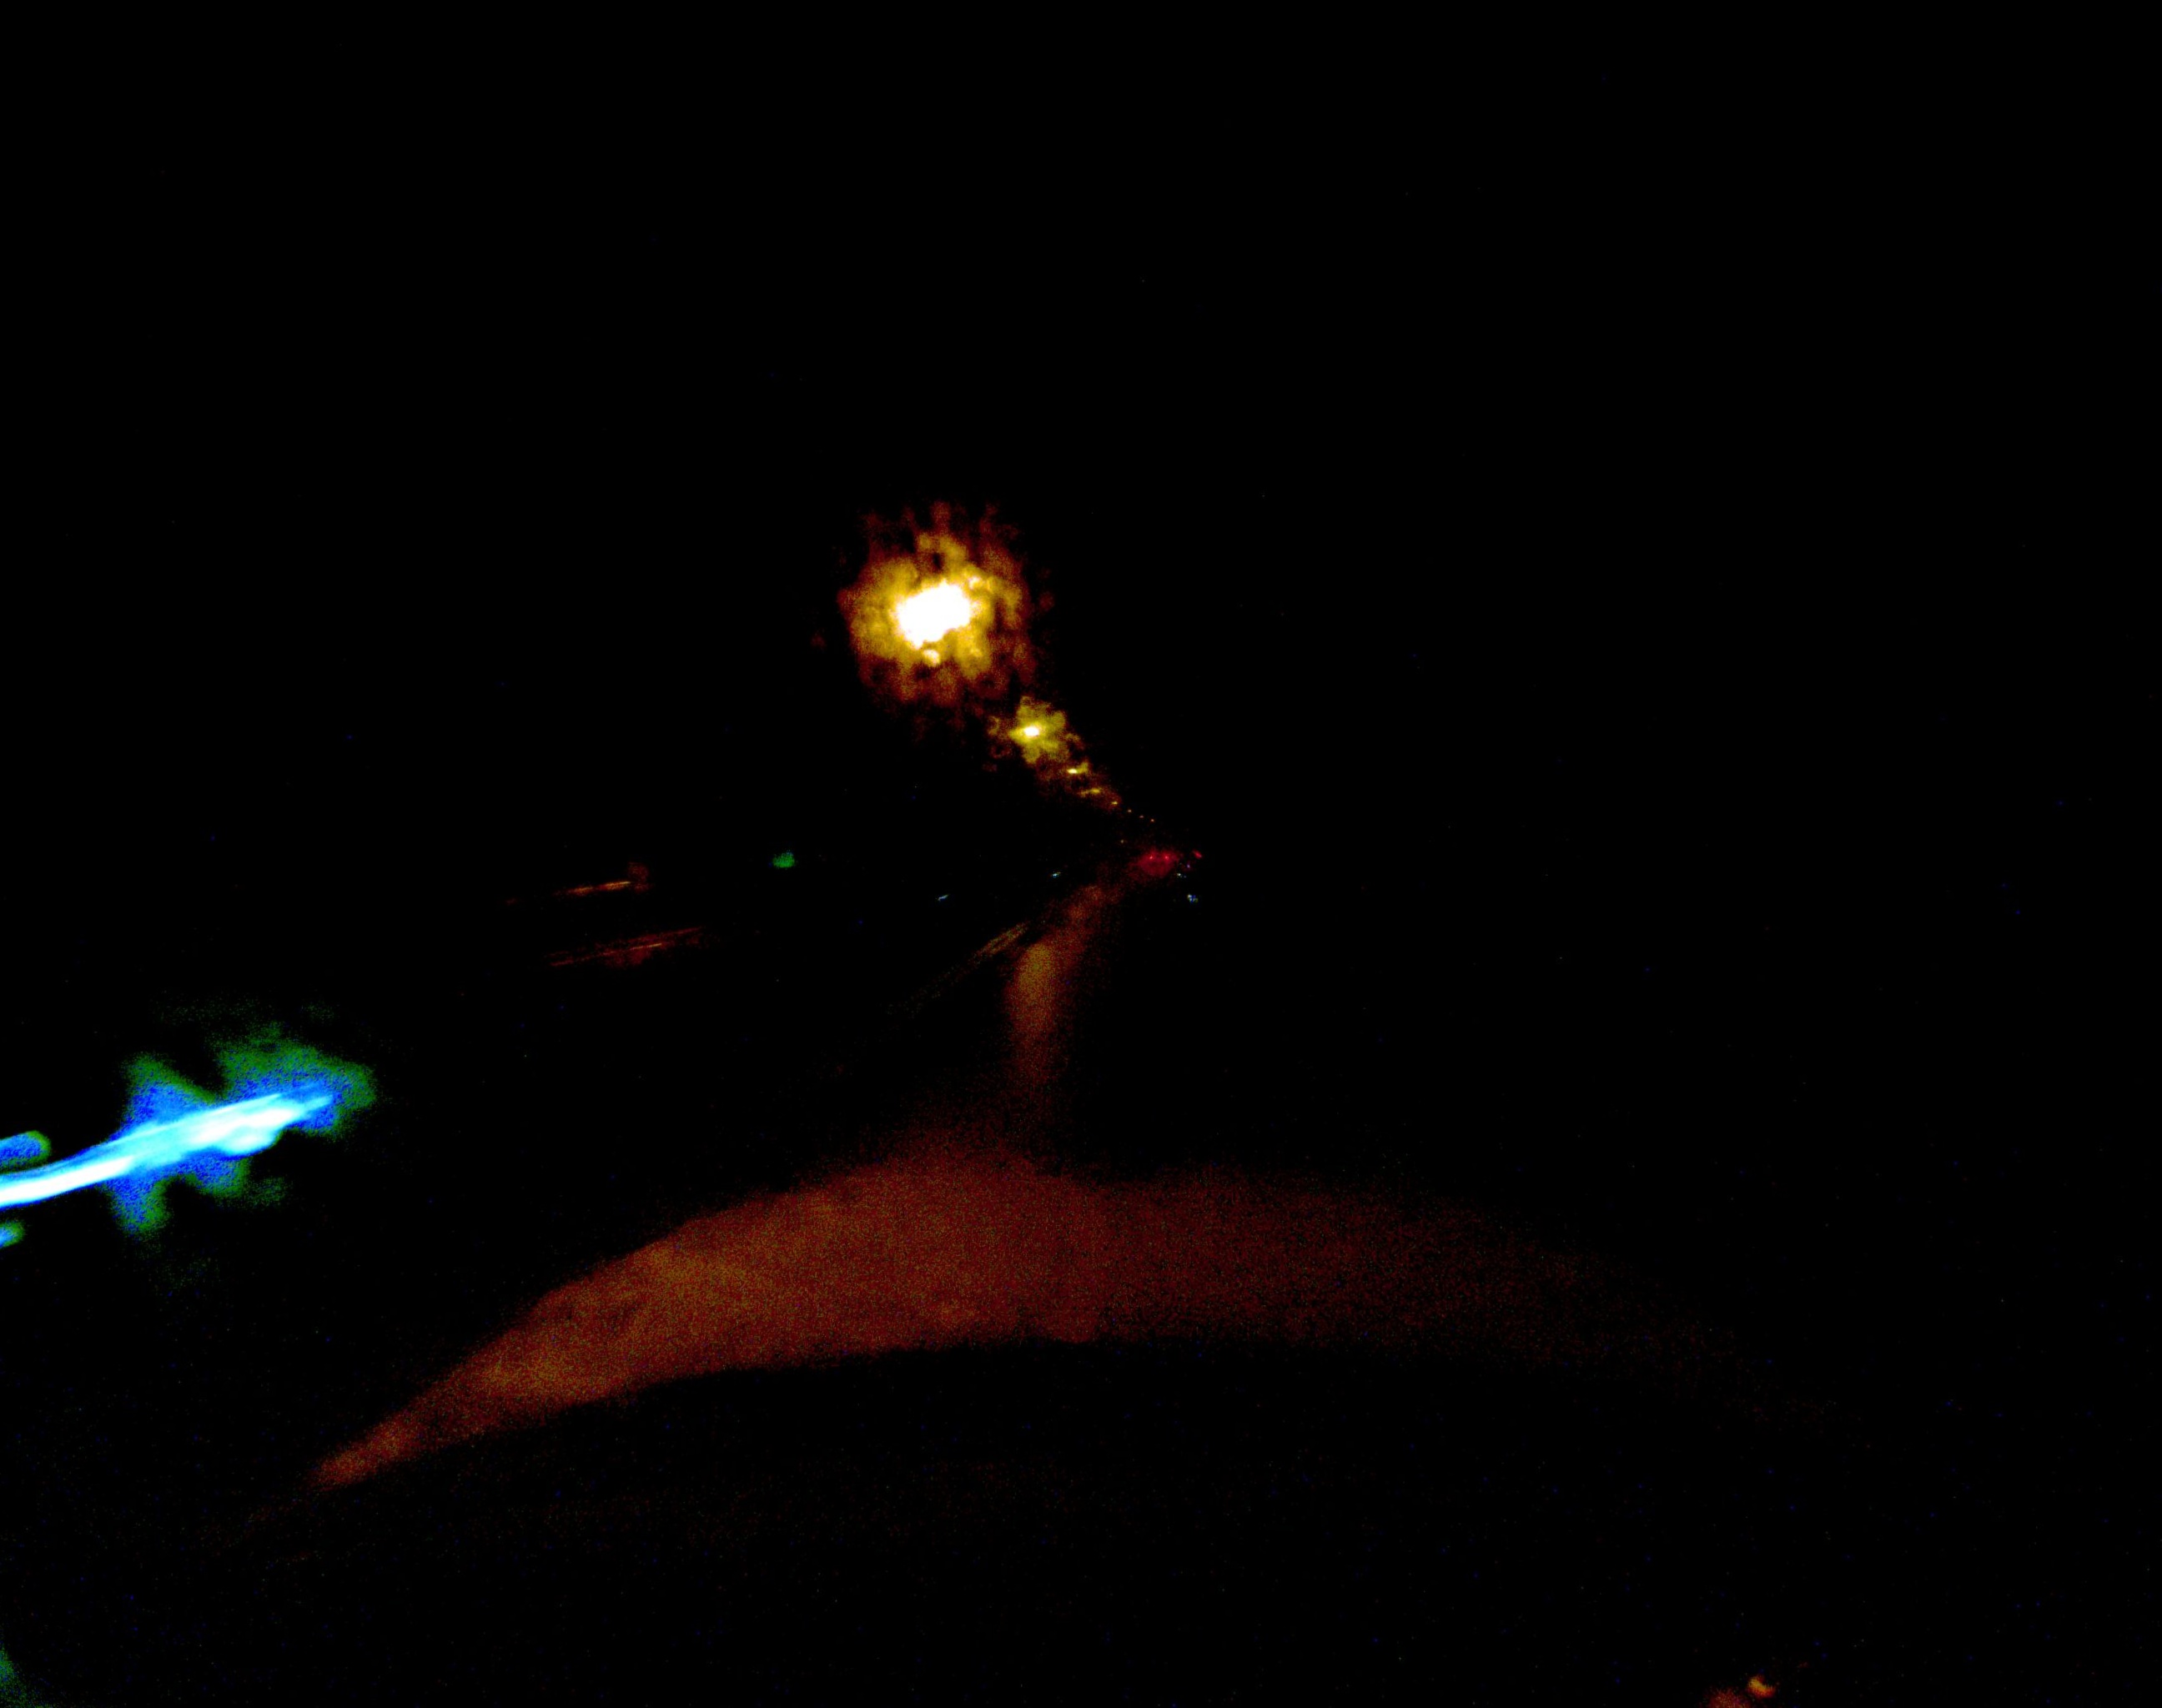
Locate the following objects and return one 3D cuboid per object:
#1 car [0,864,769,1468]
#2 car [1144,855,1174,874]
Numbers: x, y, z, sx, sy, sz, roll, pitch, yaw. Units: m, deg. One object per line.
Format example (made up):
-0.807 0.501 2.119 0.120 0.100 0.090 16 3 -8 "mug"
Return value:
-3.415 0.779 3.911 1.827 1.383 4.650 0 0 3 "car"
7.023 0.896 72.588 2.075 1.662 4.015 0 0 14 "car"
